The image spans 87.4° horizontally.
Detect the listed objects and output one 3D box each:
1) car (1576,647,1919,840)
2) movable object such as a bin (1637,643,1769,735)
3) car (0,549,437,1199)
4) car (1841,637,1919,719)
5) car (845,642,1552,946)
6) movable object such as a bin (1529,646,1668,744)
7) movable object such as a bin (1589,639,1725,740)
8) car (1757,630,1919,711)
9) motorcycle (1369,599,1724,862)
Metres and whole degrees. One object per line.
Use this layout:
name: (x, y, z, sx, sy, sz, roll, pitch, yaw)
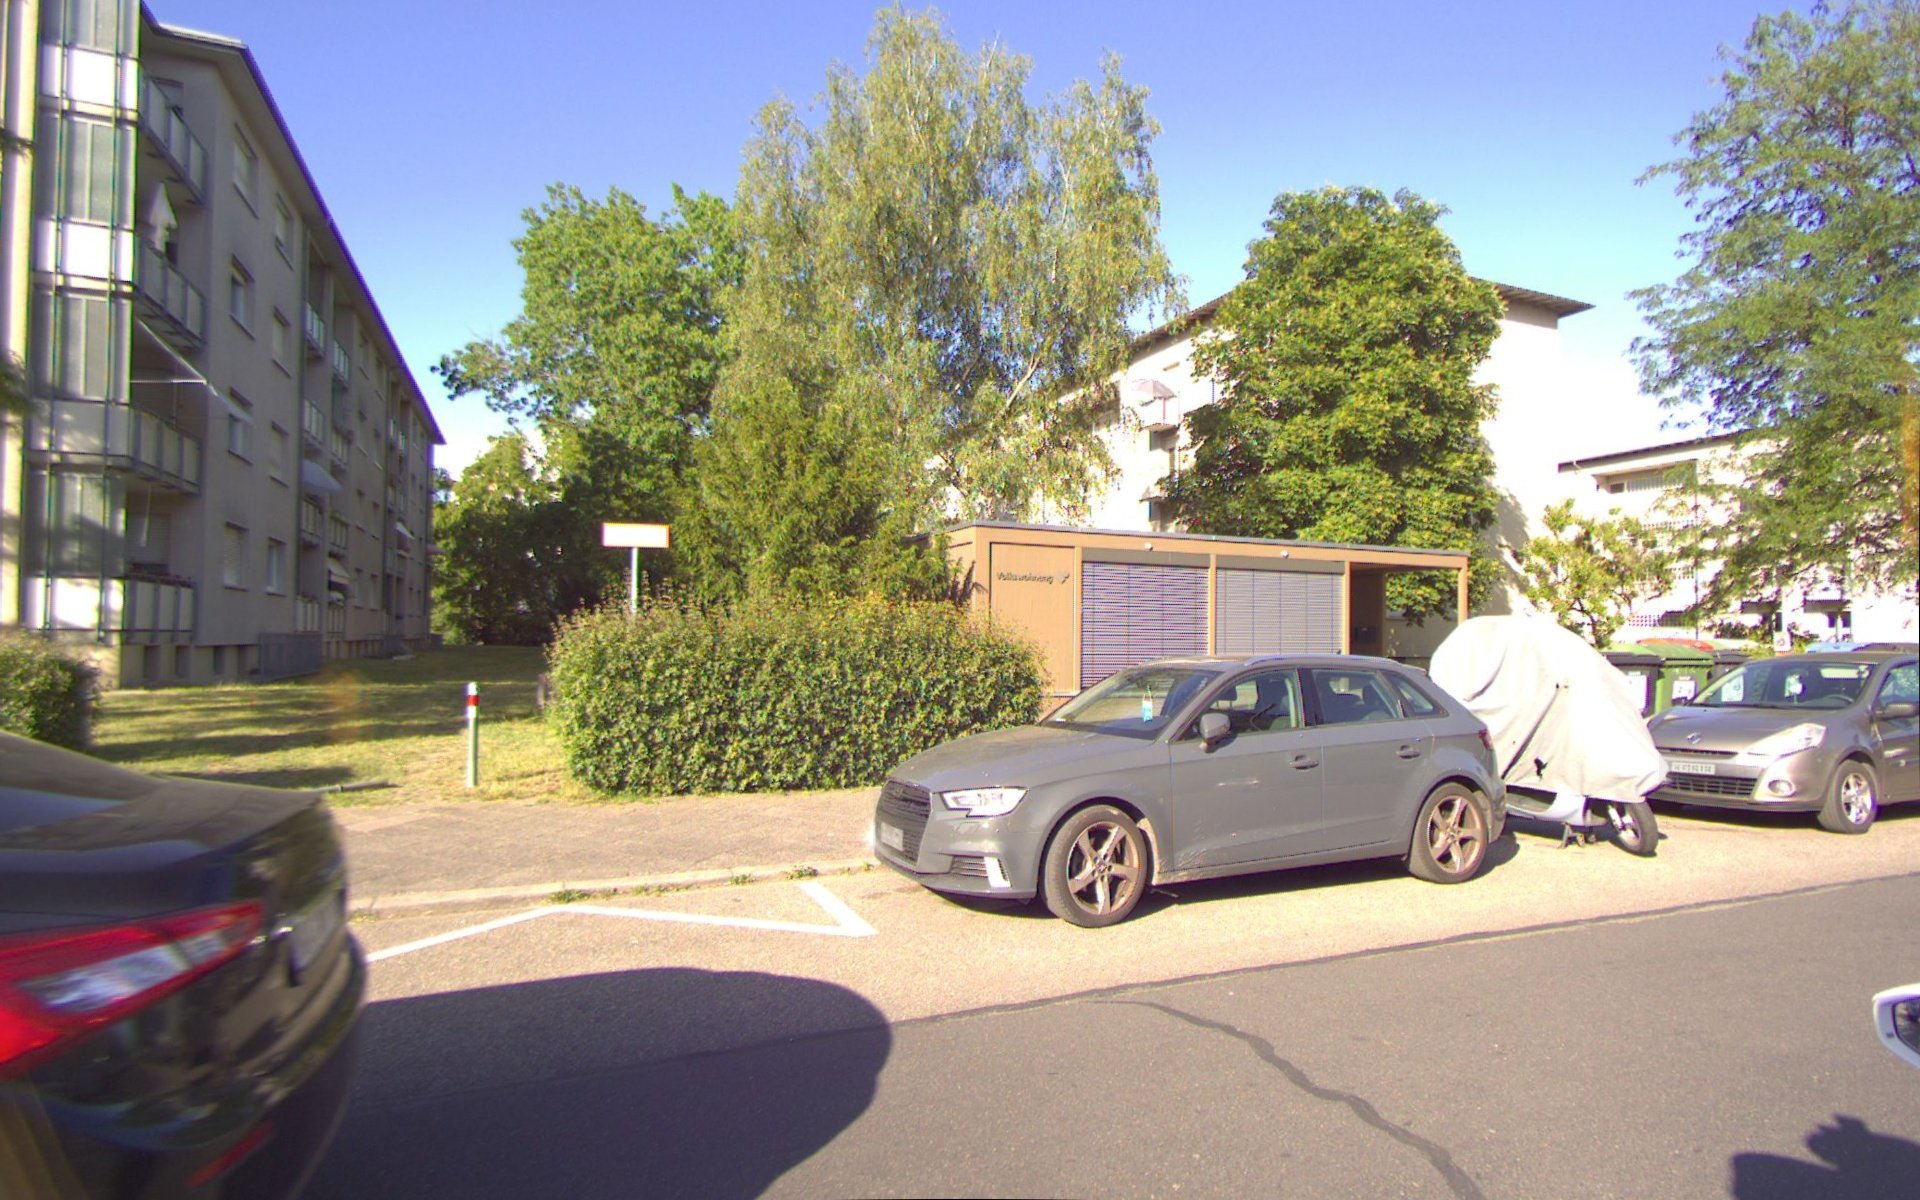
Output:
car: (7.979, 1.224, 9.419, 3.901, 1.500, 1.752, 1, -4, -22)
movable object such as a bin: (11.706, 1.376, 15.856, 1.323, 1.357, 1.175, 1, -1, -22)
car: (-3.324, 0.679, 1.320, 4.507, 1.496, 1.906, 1, -3, -24)
car: (19.878, 1.557, 20.406, 3.946, 1.545, 1.566, 2, -1, -25)
car: (1.534, 1.028, 6.449, 4.209, 1.439, 1.751, 1, -4, -24)
movable object such as a bin: (9.259, 1.342, 14.590, 1.324, 1.305, 1.175, 1, -1, -23)
movable object such as a bin: (10.496, 1.310, 15.149, 1.324, 1.426, 1.175, 1, -1, -23)
car: (19.879, 1.545, 22.535, 3.946, 1.662, 1.566, 2, -1, -25)
motorcycle: (4.488, 0.961, 7.949, 0.920, 1.749, 2.250, 2, -5, -25)
